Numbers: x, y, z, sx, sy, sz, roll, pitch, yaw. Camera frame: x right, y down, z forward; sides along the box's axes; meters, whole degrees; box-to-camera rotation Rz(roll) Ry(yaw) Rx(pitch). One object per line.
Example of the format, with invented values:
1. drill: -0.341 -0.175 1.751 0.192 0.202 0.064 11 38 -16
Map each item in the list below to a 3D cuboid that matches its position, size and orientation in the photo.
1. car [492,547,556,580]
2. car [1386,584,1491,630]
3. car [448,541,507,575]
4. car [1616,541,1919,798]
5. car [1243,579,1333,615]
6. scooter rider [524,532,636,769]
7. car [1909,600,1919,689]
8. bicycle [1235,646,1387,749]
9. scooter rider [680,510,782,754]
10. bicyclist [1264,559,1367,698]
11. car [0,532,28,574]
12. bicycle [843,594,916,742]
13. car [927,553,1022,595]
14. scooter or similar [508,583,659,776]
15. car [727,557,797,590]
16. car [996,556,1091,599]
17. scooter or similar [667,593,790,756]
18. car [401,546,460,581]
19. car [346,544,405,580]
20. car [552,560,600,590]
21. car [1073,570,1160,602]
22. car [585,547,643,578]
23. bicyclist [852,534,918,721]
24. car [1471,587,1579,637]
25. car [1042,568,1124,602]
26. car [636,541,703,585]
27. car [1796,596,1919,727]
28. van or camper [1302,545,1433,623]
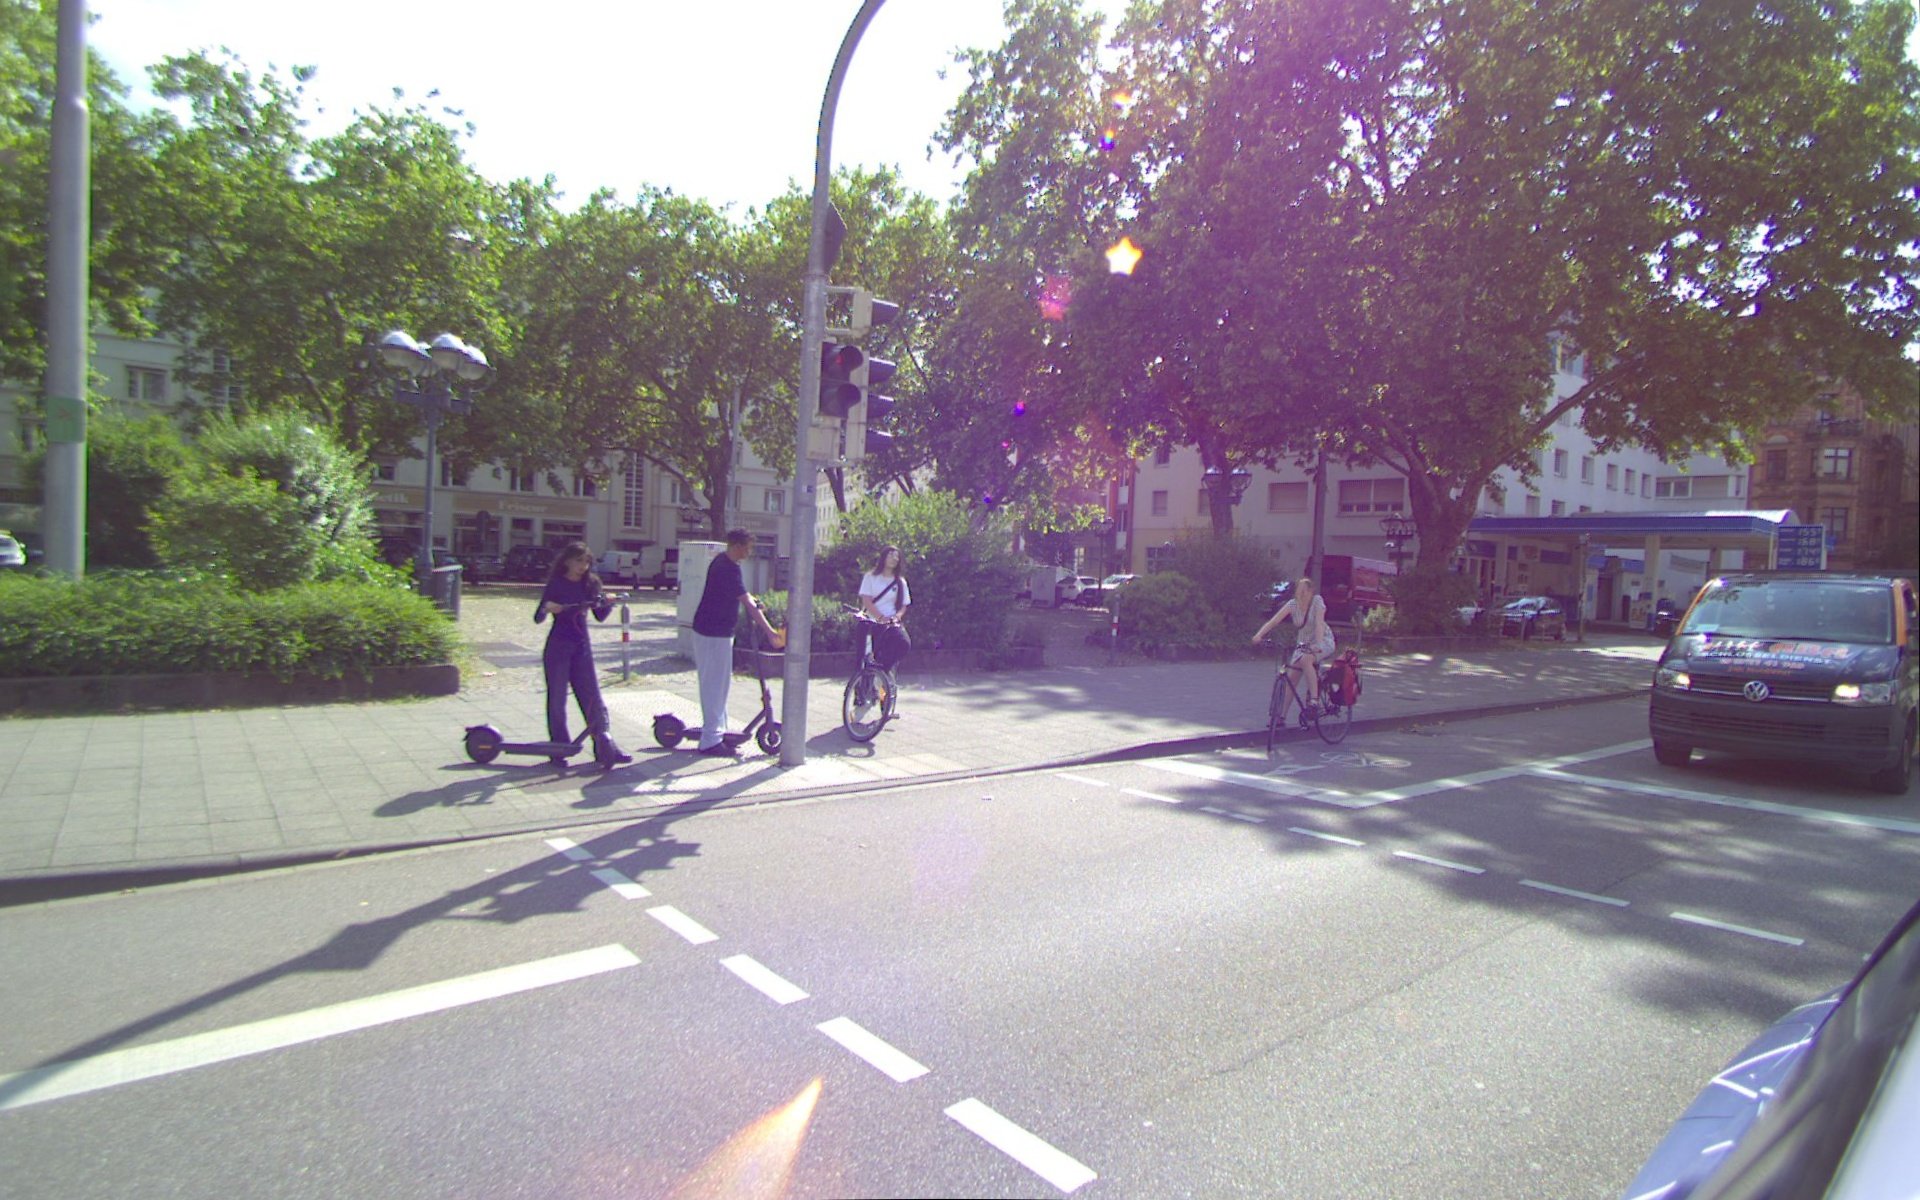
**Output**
1. car: -24.310 -2.044 56.377 2.046 1.680 4.078 1 2 -42
2. car: 16.365 0.221 34.554 3.929 1.428 1.756 1 2 -41
3. car: -26.113 -2.290 54.681 1.819 1.680 4.078 1 2 -41
4. car: 8.887 0.456 10.416 5.241 2.011 2.080 -1 3 -40
5. car: 12.609 -0.094 38.814 3.929 1.310 1.476 1 0 -41
6. scooter rider: -2.727 0.338 7.275 0.434 1.612 0.539 5 3 28
7. car: 19.928 0.859 19.522 4.596 1.626 1.764 0 3 -40
8. bicycle: 3.600 0.964 10.332 1.683 0.932 0.471 1 2 -31
9. scooter rider: -1.805 0.238 7.961 0.665 1.832 0.546 3 3 -14
10. bicyclist: 3.630 0.278 10.329 0.891 1.360 0.471 1 2 -31
11. car: -33.424 -1.677 34.893 1.838 1.370 3.935 0 3 -44
12. bicycle: -0.715 0.572 9.370 0.498 1.125 1.632 3 4 -1
13. car: 0.830 -1.332 53.939 5.166 2.113 1.995 1 0 -44
14. scooter or similar: -2.702 0.530 7.262 0.869 1.241 0.539 5 3 29
15. car: -10.451 -1.425 53.236 1.819 1.552 4.078 1 3 -41
16. car: 4.152 -1.063 49.885 4.600 1.959 1.997 1 0 -41
17. scooter or similar: -1.824 0.575 7.979 0.858 1.185 0.546 3 3 -14
18. car: -27.867 -1.935 53.182 1.819 1.680 4.078 1 2 -41
19. car: -30.003 -1.957 51.934 1.819 1.680 4.078 1 2 -41
20. car: -22.108 -1.406 58.143 1.895 1.689 3.739 1 0 -32
21. car: 7.072 -0.611 45.616 3.929 1.381 1.765 1 0 -41
22. car: -20.507 -2.240 59.939 1.819 1.680 4.078 1 2 -41
23. bicyclist: -0.698 0.237 9.561 0.498 1.688 0.584 3 3 0
24. car: 18.179 0.366 32.518 3.929 1.428 1.756 1 2 -41
25. car: 5.889 -0.691 48.090 3.929 1.539 1.662 1 0 -41
26. car: -14.457 -1.794 50.296 2.211 2.039 3.936 1 0 -32
27. car: 14.171 0.816 14.949 5.061 1.673 1.871 0 1 -40
28. van or camper: 14.985 -0.534 37.080 5.251 2.675 2.107 1 0 -38
